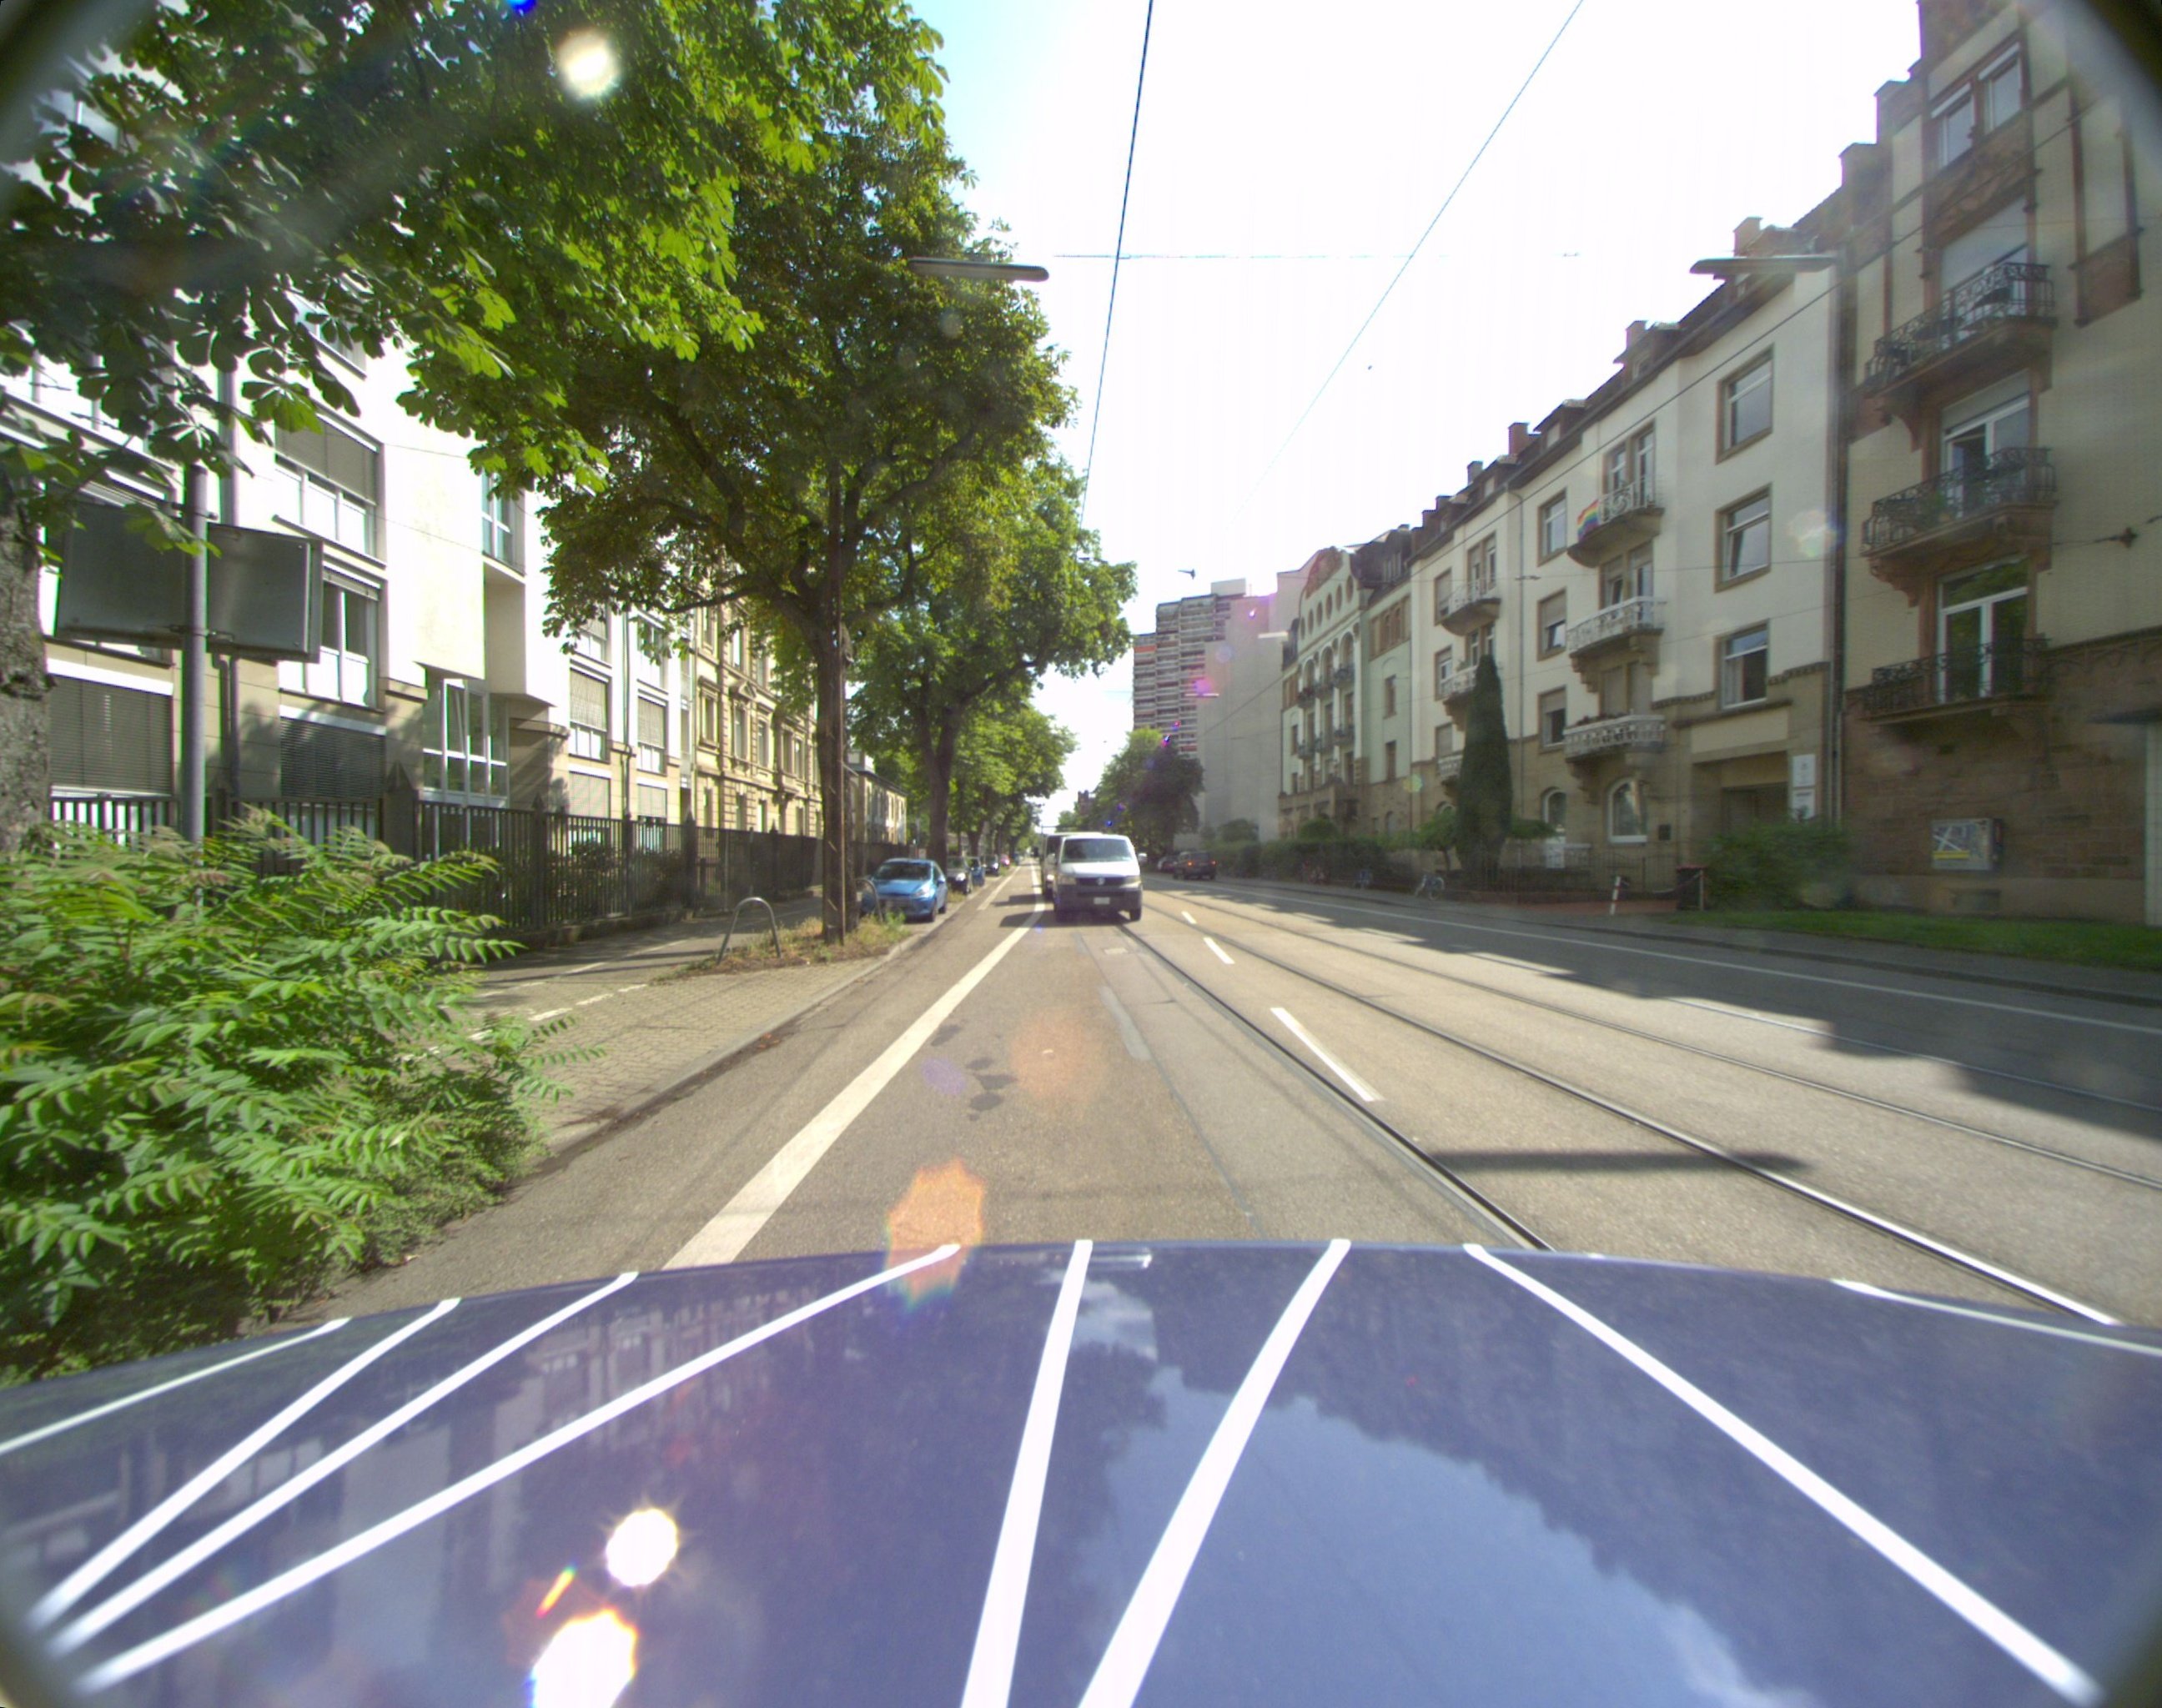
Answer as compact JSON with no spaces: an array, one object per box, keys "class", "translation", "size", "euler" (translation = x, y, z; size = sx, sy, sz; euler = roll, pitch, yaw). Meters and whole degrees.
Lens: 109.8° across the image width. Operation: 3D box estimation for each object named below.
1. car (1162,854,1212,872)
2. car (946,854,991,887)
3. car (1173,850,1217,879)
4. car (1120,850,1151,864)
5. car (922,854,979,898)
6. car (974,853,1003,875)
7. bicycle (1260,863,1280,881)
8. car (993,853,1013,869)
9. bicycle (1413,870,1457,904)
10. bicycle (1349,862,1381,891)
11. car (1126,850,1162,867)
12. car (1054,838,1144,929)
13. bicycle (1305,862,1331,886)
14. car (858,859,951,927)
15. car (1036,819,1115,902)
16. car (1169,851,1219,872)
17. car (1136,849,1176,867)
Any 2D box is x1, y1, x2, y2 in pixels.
[{"class":"car","translation":[8.718,0.735,62.539],"size":[3.890,1.527,1.634],"euler":[0,0,-2]},{"class":"car","translation":[-5.460,0.779,37.268],"size":[1.724,1.443,3.924],"euler":[2,0,-3]},{"class":"car","translation":[6.917,0.611,46.503],"size":[1.797,1.701,4.329],"euler":[0,0,-4]},{"class":"car","translation":[6.544,0.376,91.735],"size":[3.542,1.733,1.635],"euler":[0,0,-1]},{"class":"car","translation":[-4.923,0.788,29.158],"size":[1.644,1.499,3.621],"euler":[2,0,-2]},{"class":"car","translation":[-6.809,0.723,56.129],"size":[1.774,1.522,4.198],"euler":[2,0,-3]},{"class":"bicycle","translation":[9.898,0.934,39.818],"size":[0.587,0.792,1.872],"euler":[-3,1,1]},{"class":"car","translation":[-8.096,0.691,78.958],"size":[1.774,1.563,4.198],"euler":[2,0,-3]},{"class":"bicycle","translation":[11.125,1.021,23.926],"size":[0.524,0.901,2.066],"euler":[0,2,4]},{"class":"bicycle","translation":[10.929,0.866,29.265],"size":[0.539,1.024,1.872],"euler":[0,1,1]},{"class":"car","translation":[6.827,0.468,82.003],"size":[3.663,1.832,1.735],"euler":[0,0,-3]},{"class":"car","translation":[0.306,0.603,18.150],"size":[1.831,1.856,4.844],"euler":[-1,0,-2]},{"class":"bicycle","translation":[10.551,0.880,33.838],"size":[0.587,0.980,1.872],"euler":[0,1,1]},{"class":"car","translation":[-4.265,0.878,18.875],"size":[1.642,1.447,3.697],"euler":[2,0,-4]},{"class":"car","translation":[-0.331,0.193,26.581],"size":[2.169,2.572,5.660],"euler":[0,0,-7]},{"class":"car","translation":[8.852,0.580,59.612],"size":[3.631,1.630,1.610],"euler":[0,1,-3]},{"class":"car","translation":[7.760,0.402,78.759],"size":[3.997,1.914,1.830],"euler":[0,0,-1]}]
